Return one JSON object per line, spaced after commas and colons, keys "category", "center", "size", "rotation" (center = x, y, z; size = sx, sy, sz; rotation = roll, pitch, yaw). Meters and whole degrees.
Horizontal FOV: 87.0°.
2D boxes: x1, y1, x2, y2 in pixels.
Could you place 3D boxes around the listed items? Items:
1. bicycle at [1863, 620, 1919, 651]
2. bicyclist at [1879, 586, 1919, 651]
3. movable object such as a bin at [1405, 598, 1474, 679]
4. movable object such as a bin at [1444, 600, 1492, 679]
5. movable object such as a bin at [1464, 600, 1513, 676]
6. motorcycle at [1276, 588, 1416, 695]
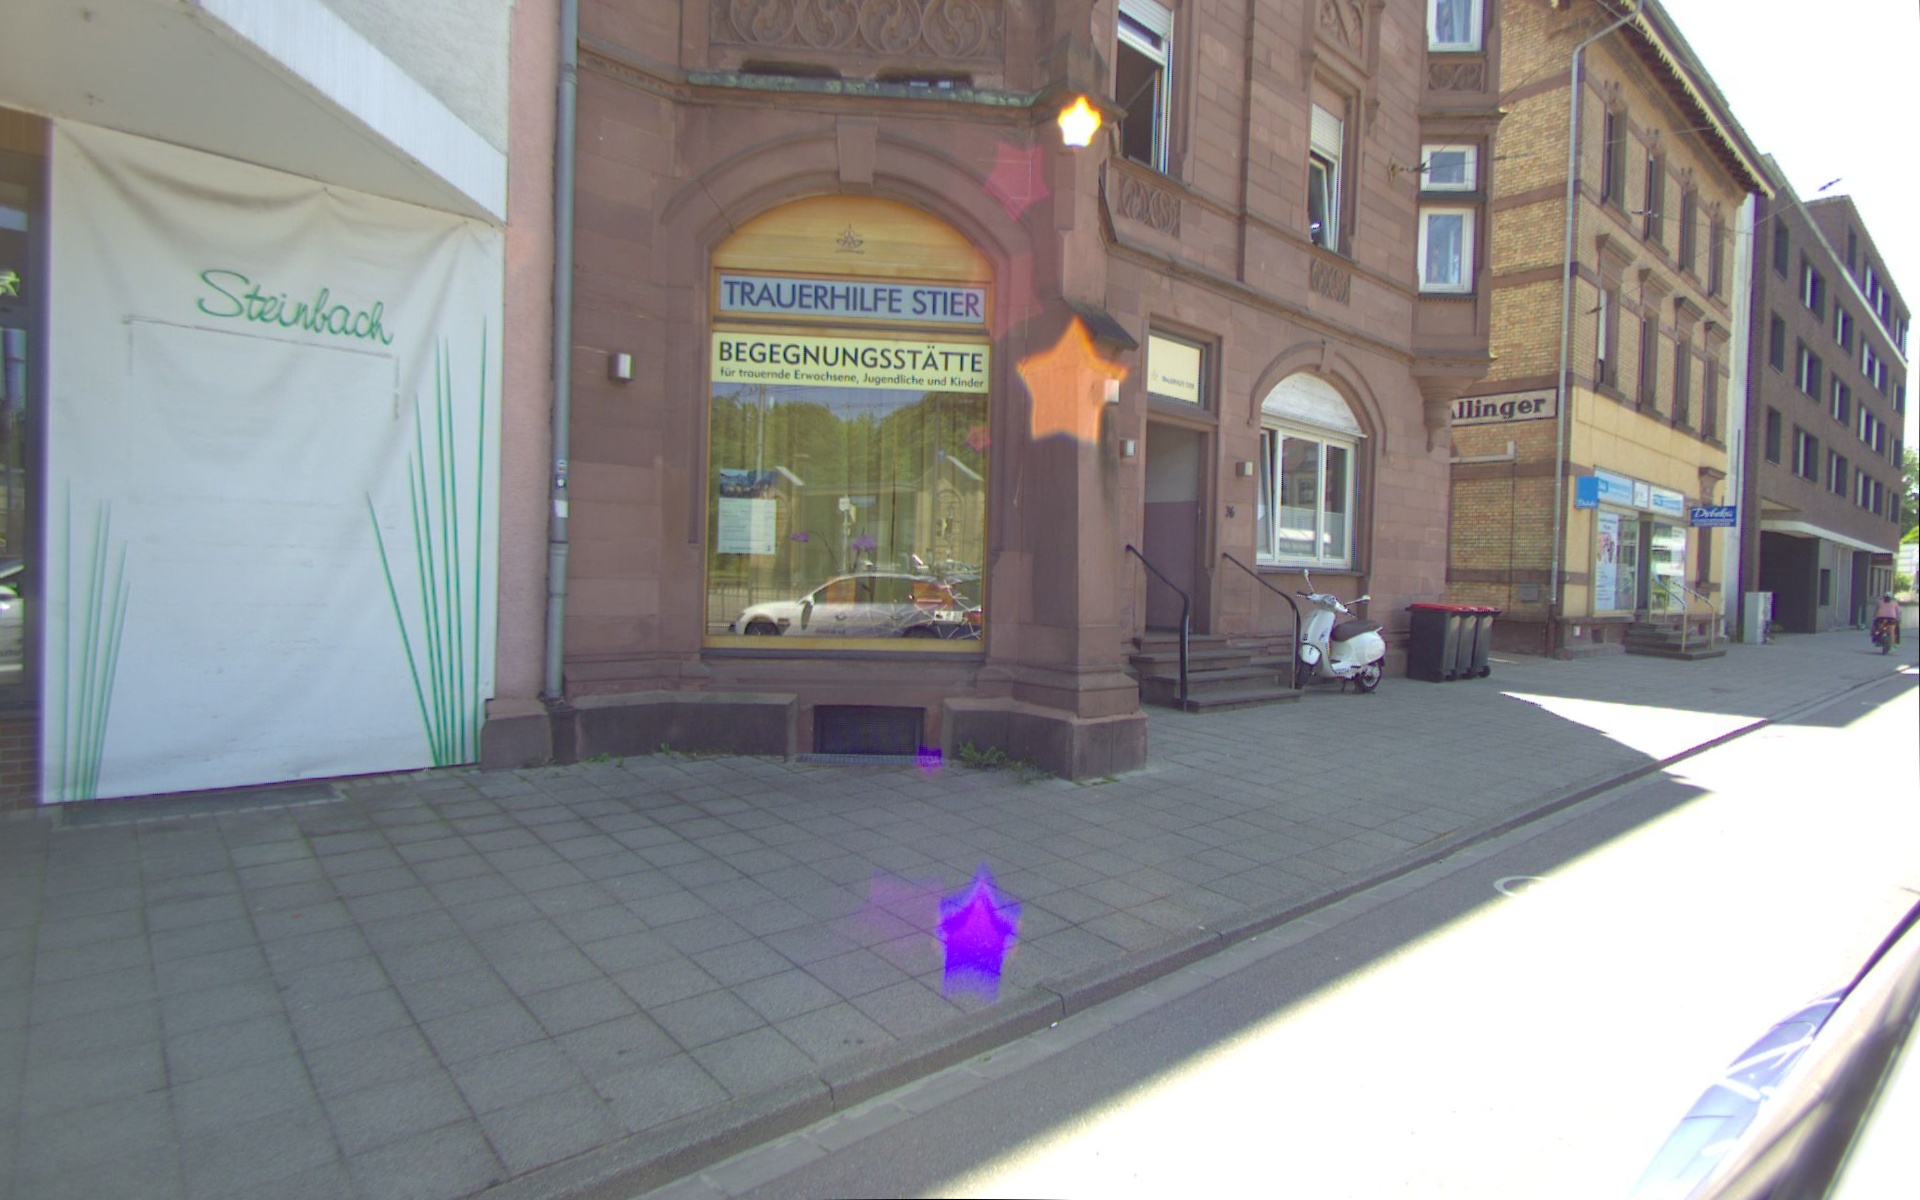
{"category": "bicycle", "center": [25.708, 0.970, 27.676], "size": [1.868, 0.807, 0.692], "rotation": [1, 1, -21]}
{"category": "bicyclist", "center": [25.931, 0.493, 27.756], "size": [0.909, 1.744, 0.673], "rotation": [1, 1, -20]}
{"category": "movable object such as a bin", "center": [6.676, 0.522, 14.098], "size": [0.549, 1.061, 0.649], "rotation": [0, 4, -42]}
{"category": "movable object such as a bin", "center": [7.206, 0.547, 14.358], "size": [0.549, 1.061, 0.376], "rotation": [0, 4, -42]}
{"category": "movable object such as a bin", "center": [7.685, 0.540, 14.717], "size": [0.646, 1.061, 0.376], "rotation": [0, 4, -42]}
{"category": "motorcycle", "center": [4.540, 0.458, 11.856], "size": [1.843, 1.163, 0.529], "rotation": [1, 1, -33]}
